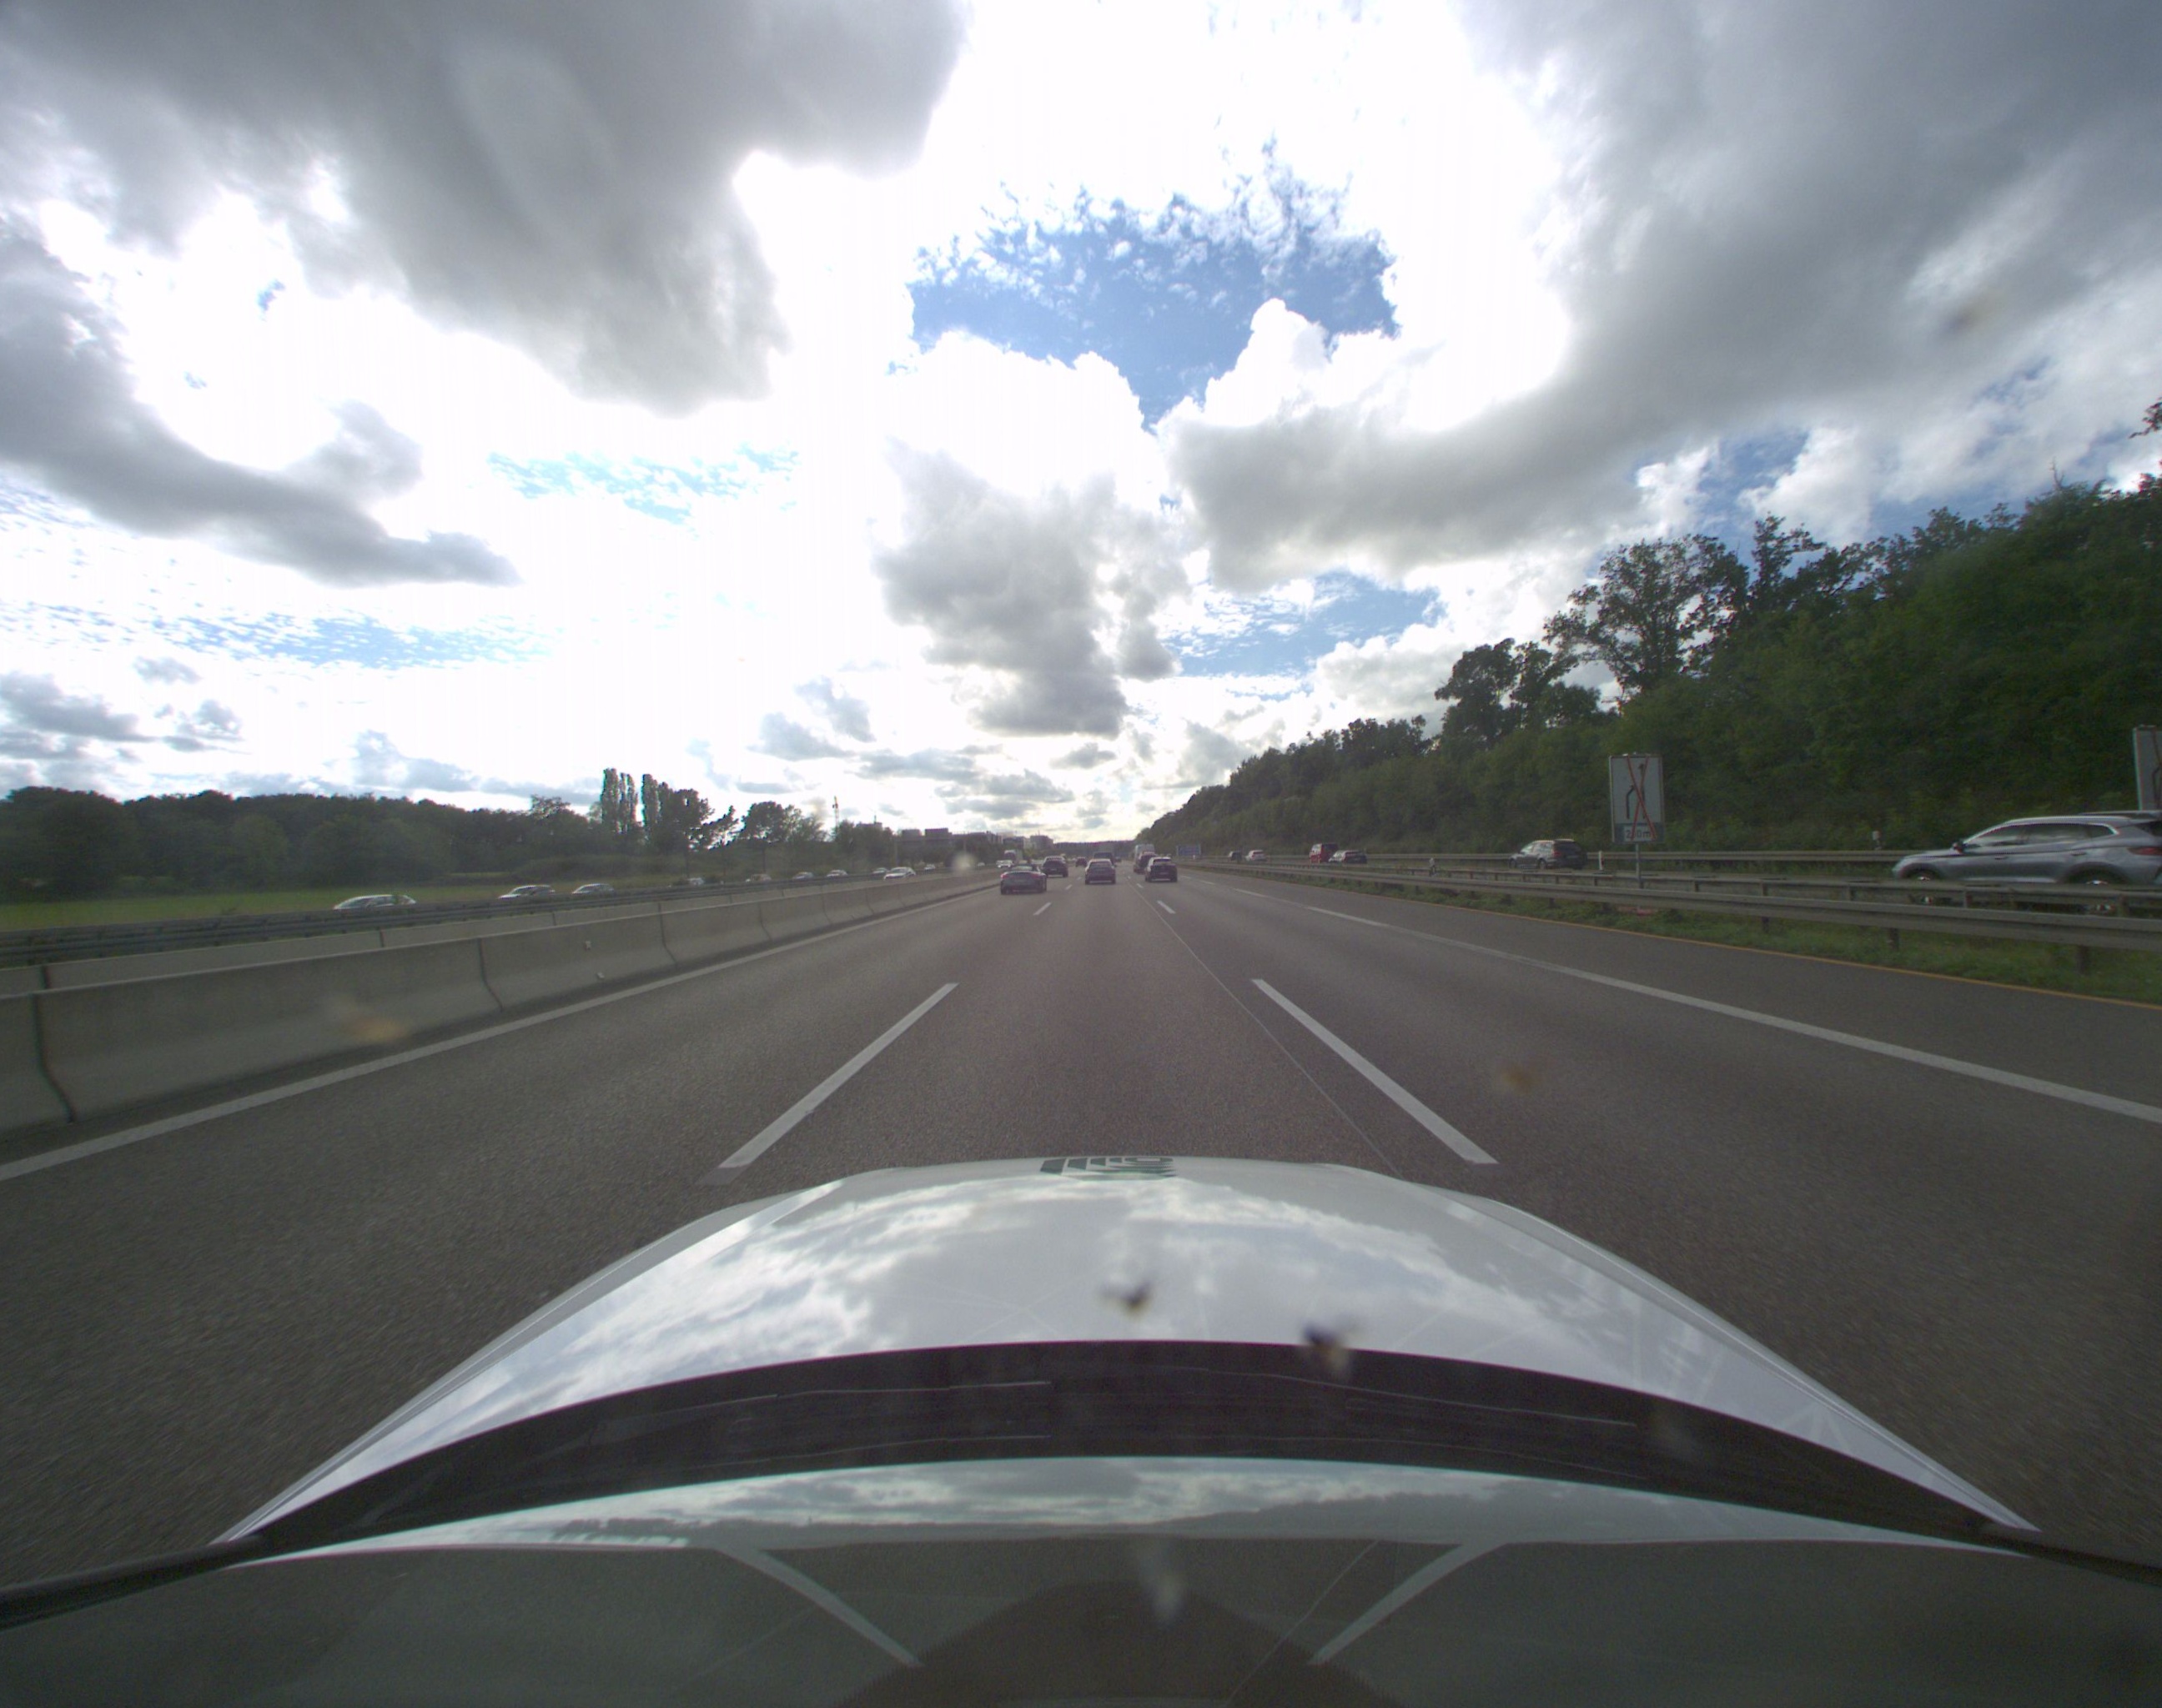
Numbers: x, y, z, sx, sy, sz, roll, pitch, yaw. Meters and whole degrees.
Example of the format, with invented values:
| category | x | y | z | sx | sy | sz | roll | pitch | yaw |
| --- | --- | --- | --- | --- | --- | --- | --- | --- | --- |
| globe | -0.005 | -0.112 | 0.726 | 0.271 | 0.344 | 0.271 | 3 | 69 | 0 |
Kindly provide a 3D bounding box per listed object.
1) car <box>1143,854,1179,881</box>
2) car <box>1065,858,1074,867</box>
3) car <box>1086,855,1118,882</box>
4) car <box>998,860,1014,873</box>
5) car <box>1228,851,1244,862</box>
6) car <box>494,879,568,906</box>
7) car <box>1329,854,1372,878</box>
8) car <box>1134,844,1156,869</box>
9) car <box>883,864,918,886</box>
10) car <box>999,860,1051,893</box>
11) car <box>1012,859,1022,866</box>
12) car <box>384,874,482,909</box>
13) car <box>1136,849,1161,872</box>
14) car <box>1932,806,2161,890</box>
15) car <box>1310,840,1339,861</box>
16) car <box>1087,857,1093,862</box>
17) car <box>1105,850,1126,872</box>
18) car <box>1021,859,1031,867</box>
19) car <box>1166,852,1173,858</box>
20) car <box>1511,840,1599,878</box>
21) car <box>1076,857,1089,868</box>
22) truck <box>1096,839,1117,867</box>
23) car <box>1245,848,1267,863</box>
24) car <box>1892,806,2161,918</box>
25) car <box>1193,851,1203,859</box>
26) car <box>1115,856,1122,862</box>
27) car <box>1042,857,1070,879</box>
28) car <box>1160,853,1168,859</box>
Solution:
| category | x | y | z | sx | sy | sz | roll | pitch | yaw |
| --- | --- | --- | --- | --- | --- | --- | --- | --- | --- |
| car | 4.735 | 0.762 | 48.589 | 1.825 | 1.521 | 4.226 | -2 | 0 | 2 |
| car | -2.251 | 1.618 | 158.482 | 1.660 | 1.555 | 4.001 | -2 | 0 | 2 |
| car | 1.225 | 0.810 | 47.521 | 1.714 | 1.479 | 4.393 | -2 | 0 | 2 |
| car | -9.914 | 1.640 | 108.127 | 1.660 | 1.555 | 4.001 | -2 | 0 | 2 |
| car | 24.291 | 0.362 | 127.982 | 1.745 | 1.695 | 4.191 | -2 | 0 | 2 |
| car | -38.836 | 2.707 | 57.685 | 1.987 | 1.632 | 4.655 | -2 | 0 | 1 |
| car | 18.740 | 0.820 | 56.824 | 1.590 | 1.546 | 4.190 | -2 | 0 | 0 |
| car | 6.175 | 0.225 | 78.690 | 1.866 | 2.357 | 4.283 | -1 | 0 | 2 |
| car | -14.388 | 1.627 | 65.159 | 1.772 | 1.645 | 4.073 | -2 | 0 | 1 |
| car | -2.508 | 0.989 | 37.315 | 1.866 | 1.302 | 4.944 | -2 | 0 | 2 |
| car | -13.708 | 1.783 | 175.029 | 1.661 | 1.555 | 4.000 | -2 | 0 | 1 |
| car | -32.603 | 1.868 | 41.123 | 1.660 | 1.555 | 4.001 | -2 | 0 | 2 |
| car | 5.896 | 0.538 | 71.681 | 1.906 | 1.919 | 4.032 | -2 | 0 | 1 |
| car | 21.060 | -0.152 | 17.155 | 1.723 | 1.546 | 4.305 | -4 | 0 | 0 |
| car | 22.913 | -0.311 | 76.734 | 1.590 | 1.804 | 3.824 | -2 | 0 | 0 |
| car | 2.914 | 1.687 | 253.044 | 1.660 | 1.555 | 4.001 | -2 | 0 | 2 |
| car | 2.870 | 0.576 | 68.475 | 1.714 | 1.724 | 4.393 | -2 | 0 | 2 |
| car | -11.182 | 1.751 | 165.787 | 1.660 | 1.555 | 4.001 | -2 | 0 | 2 |
| car | 27.298 | 0.319 | 251.824 | 1.746 | 1.517 | 4.190 | -2 | 0 | 1 |
| car | 21.639 | 0.218 | 37.349 | 1.747 | 1.596 | 4.001 | -2 | 0 | 2 |
| car | 0.244 | 1.391 | 134.605 | 1.866 | 1.698 | 4.073 | -2 | 0 | 1 |
| truck | 4.113 | -0.161 | 130.590 | 3.251 | 4.375 | 11.030 | -1 | 0 | 2 |
| car | 20.311 | 0.157 | 94.483 | 1.745 | 1.695 | 4.191 | -2 | 0 | 2 |
| car | 17.287 | 0.076 | 14.291 | 1.840 | 1.650 | 4.307 | -4 | 0 | 2 |
| car | 25.911 | 0.231 | 180.726 | 1.746 | 1.517 | 4.190 | -2 | 0 | 1 |
| car | 9.785 | 1.318 | 211.789 | 1.745 | 1.695 | 4.191 | -2 | 0 | 2 |
| car | -1.983 | 1.063 | 65.861 | 1.905 | 1.636 | 5.502 | -2 | 0 | 2 |
| car | 24.285 | 0.513 | 238.571 | 1.722 | 1.533 | 4.454 | -2 | 0 | 2 |
